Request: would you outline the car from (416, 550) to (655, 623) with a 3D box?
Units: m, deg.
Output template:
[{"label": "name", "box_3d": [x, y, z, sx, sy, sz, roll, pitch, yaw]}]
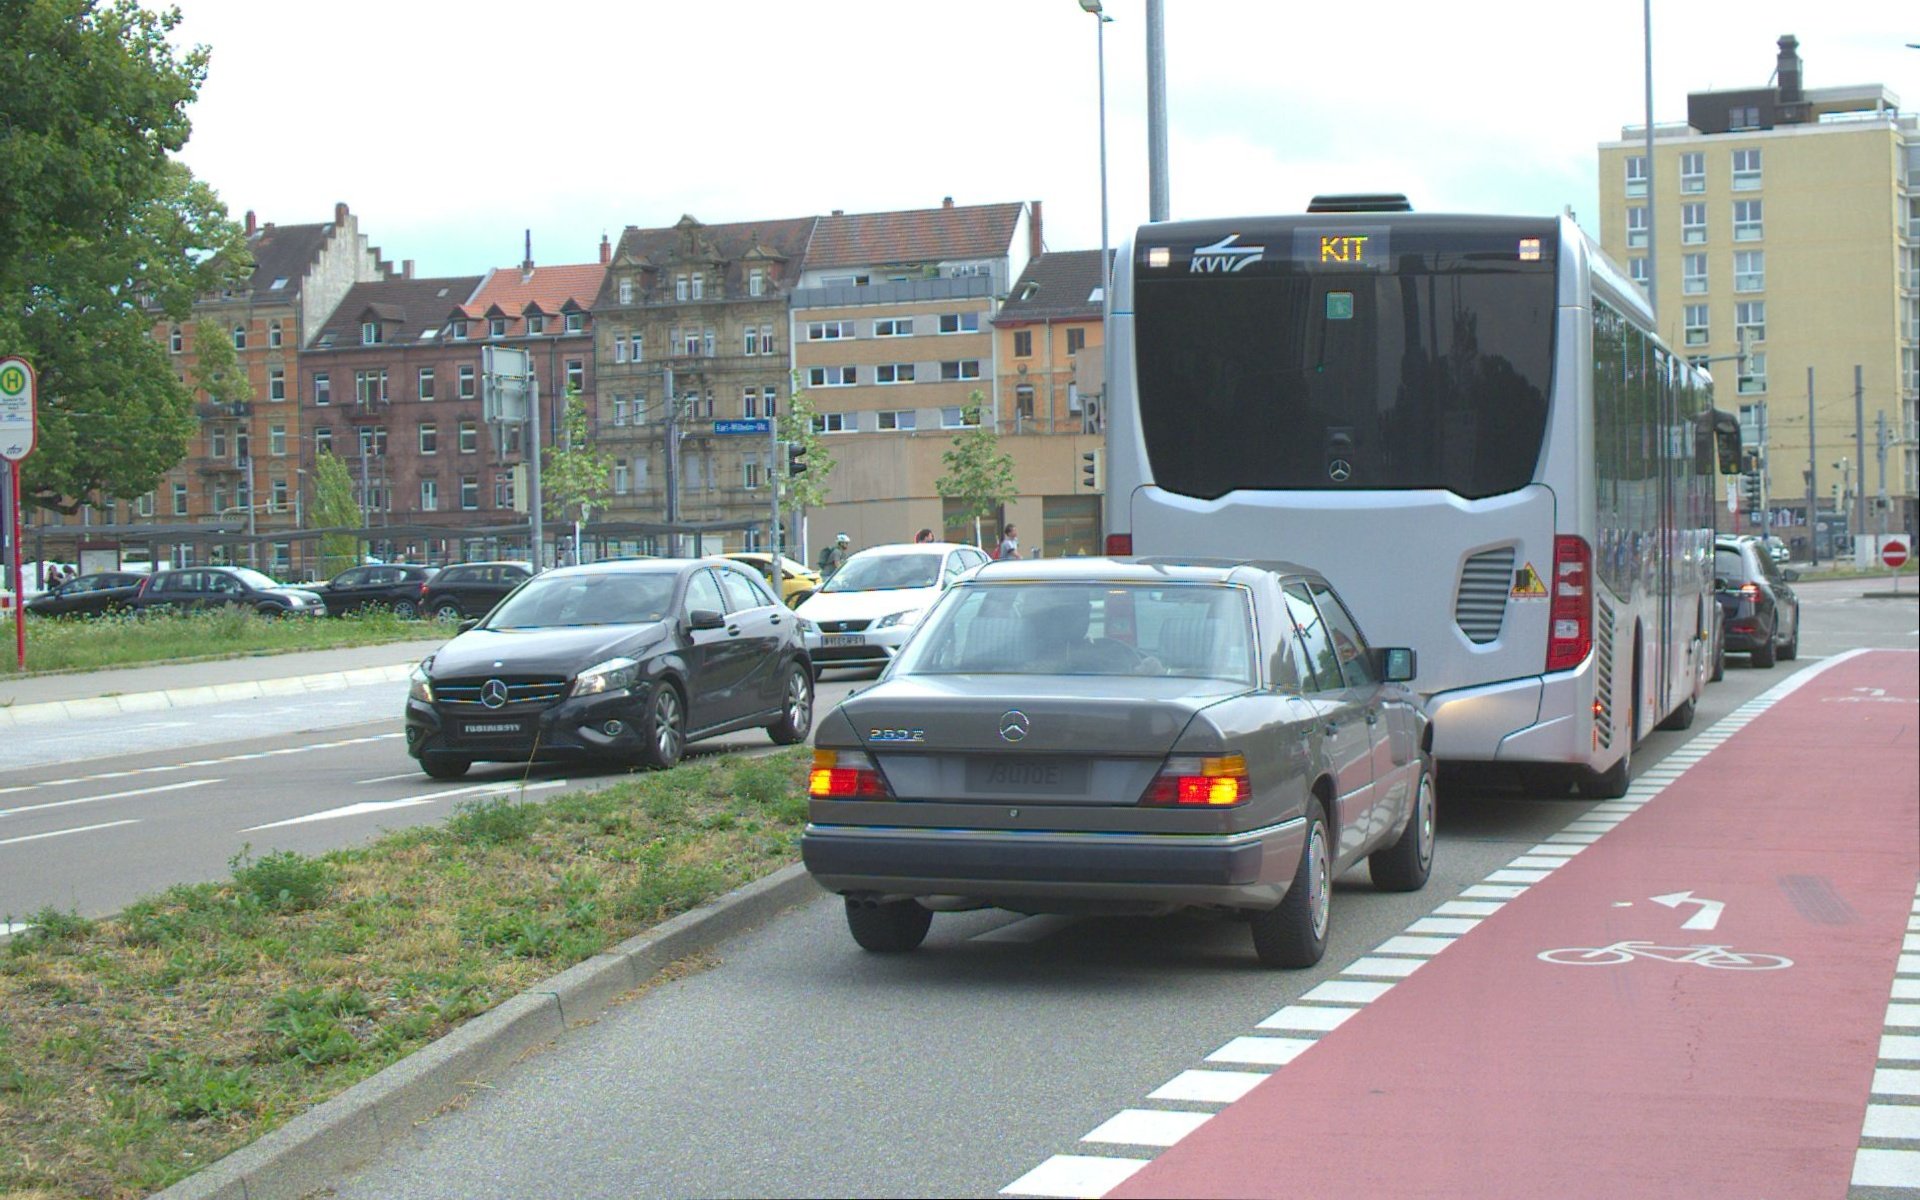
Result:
[{"label": "car", "box_3d": [-8.859, -0.295, 71.776, 4.671, 1.470, 1.660, 1, 1, 12]}]

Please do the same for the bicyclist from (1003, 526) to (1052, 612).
[{"label": "bicyclist", "box_3d": [1.296, -0.599, 66.396, 0.787, 1.637, 0.613, -1, 1, 14]}]

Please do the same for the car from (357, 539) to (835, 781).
[{"label": "car", "box_3d": [-2.456, 0.360, 24.408, 1.756, 1.484, 4.374, -2, 1, 17]}]

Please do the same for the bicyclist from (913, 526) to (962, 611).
[{"label": "bicyclist", "box_3d": [-0.429, -0.613, 67.133, 0.787, 1.637, 0.572, -1, 1, 16]}]

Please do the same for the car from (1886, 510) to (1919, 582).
[{"label": "car", "box_3d": [30.006, -1.671, 102.819, 2.589, 2.102, 5.589, -1, 1, 36]}]

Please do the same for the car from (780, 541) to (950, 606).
[{"label": "car", "box_3d": [-2.080, -0.585, 75.177, 3.672, 1.389, 1.585, 0, 1, -1]}]

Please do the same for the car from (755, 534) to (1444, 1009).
[{"label": "car", "box_3d": [0.715, 0.520, 13.161, 1.762, 1.484, 4.168, -1, 1, 15]}]

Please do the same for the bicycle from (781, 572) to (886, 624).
[{"label": "bicycle", "box_3d": [-2.510, -0.042, 68.143, 1.965, 0.978, 0.631, -1, 1, 12]}]

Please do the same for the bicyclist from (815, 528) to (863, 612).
[{"label": "bicyclist", "box_3d": [-2.395, -0.603, 68.129, 0.787, 1.637, 0.572, -1, 1, 12]}]

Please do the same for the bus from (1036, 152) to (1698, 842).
[{"label": "bus", "box_3d": [2.850, -0.587, 21.140, 2.833, 3.378, 8.177, -1, 1, 15]}]

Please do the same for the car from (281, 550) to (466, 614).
[{"label": "car", "box_3d": [-13.130, -0.417, 77.045, 3.765, 1.389, 1.584, 0, 1, 12]}]

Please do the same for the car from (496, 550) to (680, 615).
[{"label": "car", "box_3d": [-8.230, -0.400, 76.132, 3.765, 1.389, 1.584, 0, 1, 12]}]

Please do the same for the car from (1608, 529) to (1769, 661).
[{"label": "car", "box_3d": [8.351, -0.088, 39.223, 1.656, 1.392, 3.858, -1, 1, 14]}]

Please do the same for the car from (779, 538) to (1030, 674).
[{"label": "car", "box_3d": [-0.581, 0.035, 40.164, 1.698, 1.438, 4.172, -2, 1, 17]}]

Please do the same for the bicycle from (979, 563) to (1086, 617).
[{"label": "bicycle", "box_3d": [1.401, -0.194, 66.383, 1.965, 0.978, 0.630, -1, 1, 14]}]

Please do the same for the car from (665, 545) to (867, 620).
[{"label": "car", "box_3d": [-3.975, -0.372, 70.758, 3.858, 1.512, 1.660, 0, 1, 12]}]

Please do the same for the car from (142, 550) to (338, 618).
[{"label": "car", "box_3d": [-15.342, -0.350, 73.319, 3.765, 1.389, 1.584, 0, 1, 12]}]
